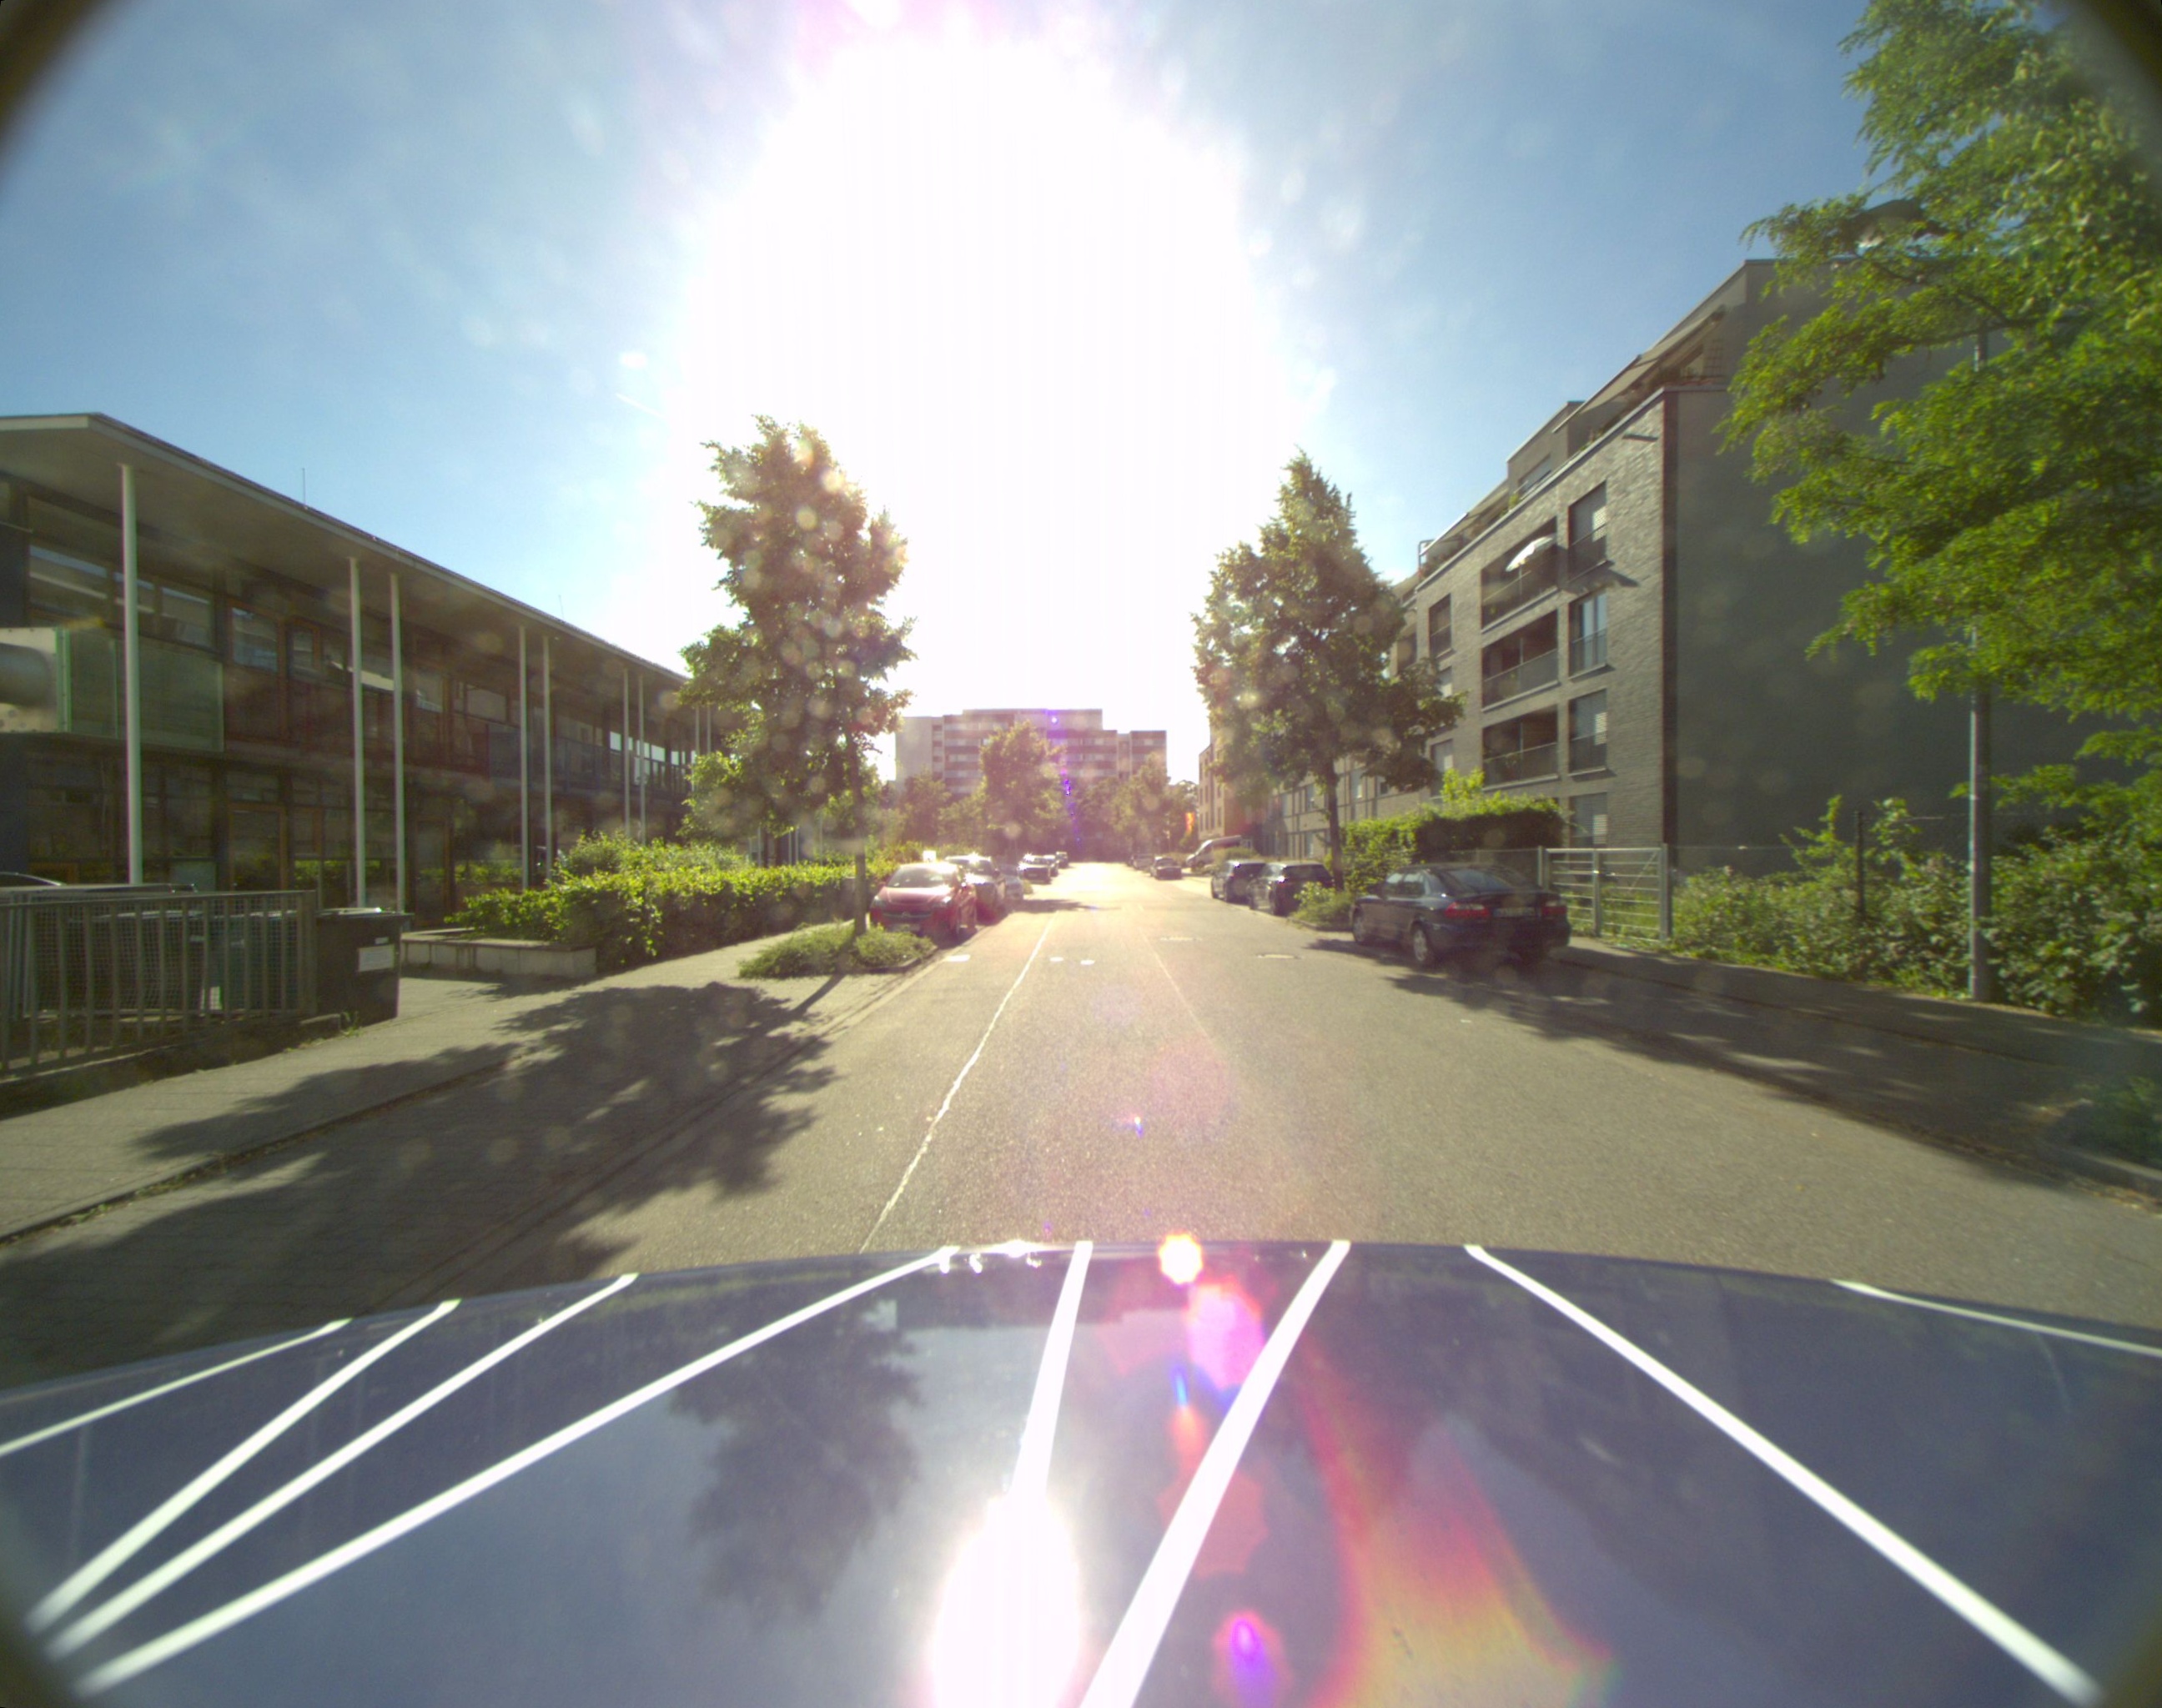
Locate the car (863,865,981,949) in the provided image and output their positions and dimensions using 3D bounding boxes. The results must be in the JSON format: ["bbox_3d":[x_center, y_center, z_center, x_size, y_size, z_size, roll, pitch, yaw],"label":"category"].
[{"bbox_3d":[-3.182,1.007,15.947,1.679,1.495,3.846,0,0,0],"label":"car"}]

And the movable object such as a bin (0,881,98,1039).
[{"bbox_3d":[-10.692,1.000,6.903,1.369,1.440,1.631,0,0,1],"label":"movable object such as a bin"}]

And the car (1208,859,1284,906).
[{"bbox_3d":[5.866,0.965,27.521,1.845,1.465,4.099,-3,0,1],"label":"car"}]

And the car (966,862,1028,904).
[{"bbox_3d":[-3.040,1.019,28.395,1.968,1.312,4.774,2,0,-3],"label":"car"}]

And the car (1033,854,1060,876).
[{"bbox_3d":[-2.633,0.818,58.413,1.823,1.458,3.841,3,2,0],"label":"car"}]

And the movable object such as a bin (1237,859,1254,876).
[{"bbox_3d":[10.502,0.850,48.421,0.862,1.031,0.677,-4,1,-2],"label":"movable object such as a bin"}]

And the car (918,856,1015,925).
[{"bbox_3d":[-3.076,0.927,21.322,1.905,1.673,4.411,1,0,1],"label":"car"}]

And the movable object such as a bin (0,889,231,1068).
[{"bbox_3d":[-9.261,1.035,6.831,1.369,1.350,1.631,0,0,1],"label":"movable object such as a bin"}]

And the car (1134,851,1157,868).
[{"bbox_3d":[6.433,0.541,76.303,1.795,1.590,3.889,-2,0,-2],"label":"car"}]

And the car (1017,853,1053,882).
[{"bbox_3d":[-2.771,0.784,46.892,1.823,1.638,4.488,3,0,0],"label":"car"}]

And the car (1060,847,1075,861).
[{"bbox_3d":[-1.600,-0.004,92.111,1.644,1.458,3.702,3,2,0],"label":"car"}]

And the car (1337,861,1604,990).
[{"bbox_3d":[5.591,0.915,11.651,1.845,1.465,4.359,-3,0,1],"label":"car"}]

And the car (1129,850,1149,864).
[{"bbox_3d":[6.486,0.349,85.228,1.795,1.509,3.889,-2,0,-2],"label":"car"}]

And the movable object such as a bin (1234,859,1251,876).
[{"bbox_3d":[10.448,0.853,49.236,0.921,1.031,0.681,-4,1,-2],"label":"movable object such as a bin"}]

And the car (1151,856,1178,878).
[{"bbox_3d":[6.190,0.929,56.488,1.631,1.515,3.562,0,0,0],"label":"car"}]

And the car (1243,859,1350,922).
[{"bbox_3d":[5.881,0.945,21.256,1.845,1.465,4.027,-3,0,1],"label":"car"}]

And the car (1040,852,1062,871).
[{"bbox_3d":[-2.543,0.618,65.029,1.644,1.458,3.702,3,2,0],"label":"car"}]

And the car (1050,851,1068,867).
[{"bbox_3d":[-2.333,0.488,80.729,1.644,1.458,3.702,3,2,0],"label":"car"}]

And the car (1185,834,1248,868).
[{"bbox_3d":[11.966,-0.274,67.281,5.153,2.886,2.013,0,1,-3],"label":"car"}]

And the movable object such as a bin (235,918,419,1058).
[{"bbox_3d":[-6.704,1.156,6.815,0.633,1.064,0.979,-1,1,0],"label":"movable object such as a bin"}]

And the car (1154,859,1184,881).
[{"bbox_3d":[5.852,1.050,50.978,1.631,1.240,3.562,-3,0,1],"label":"car"}]
